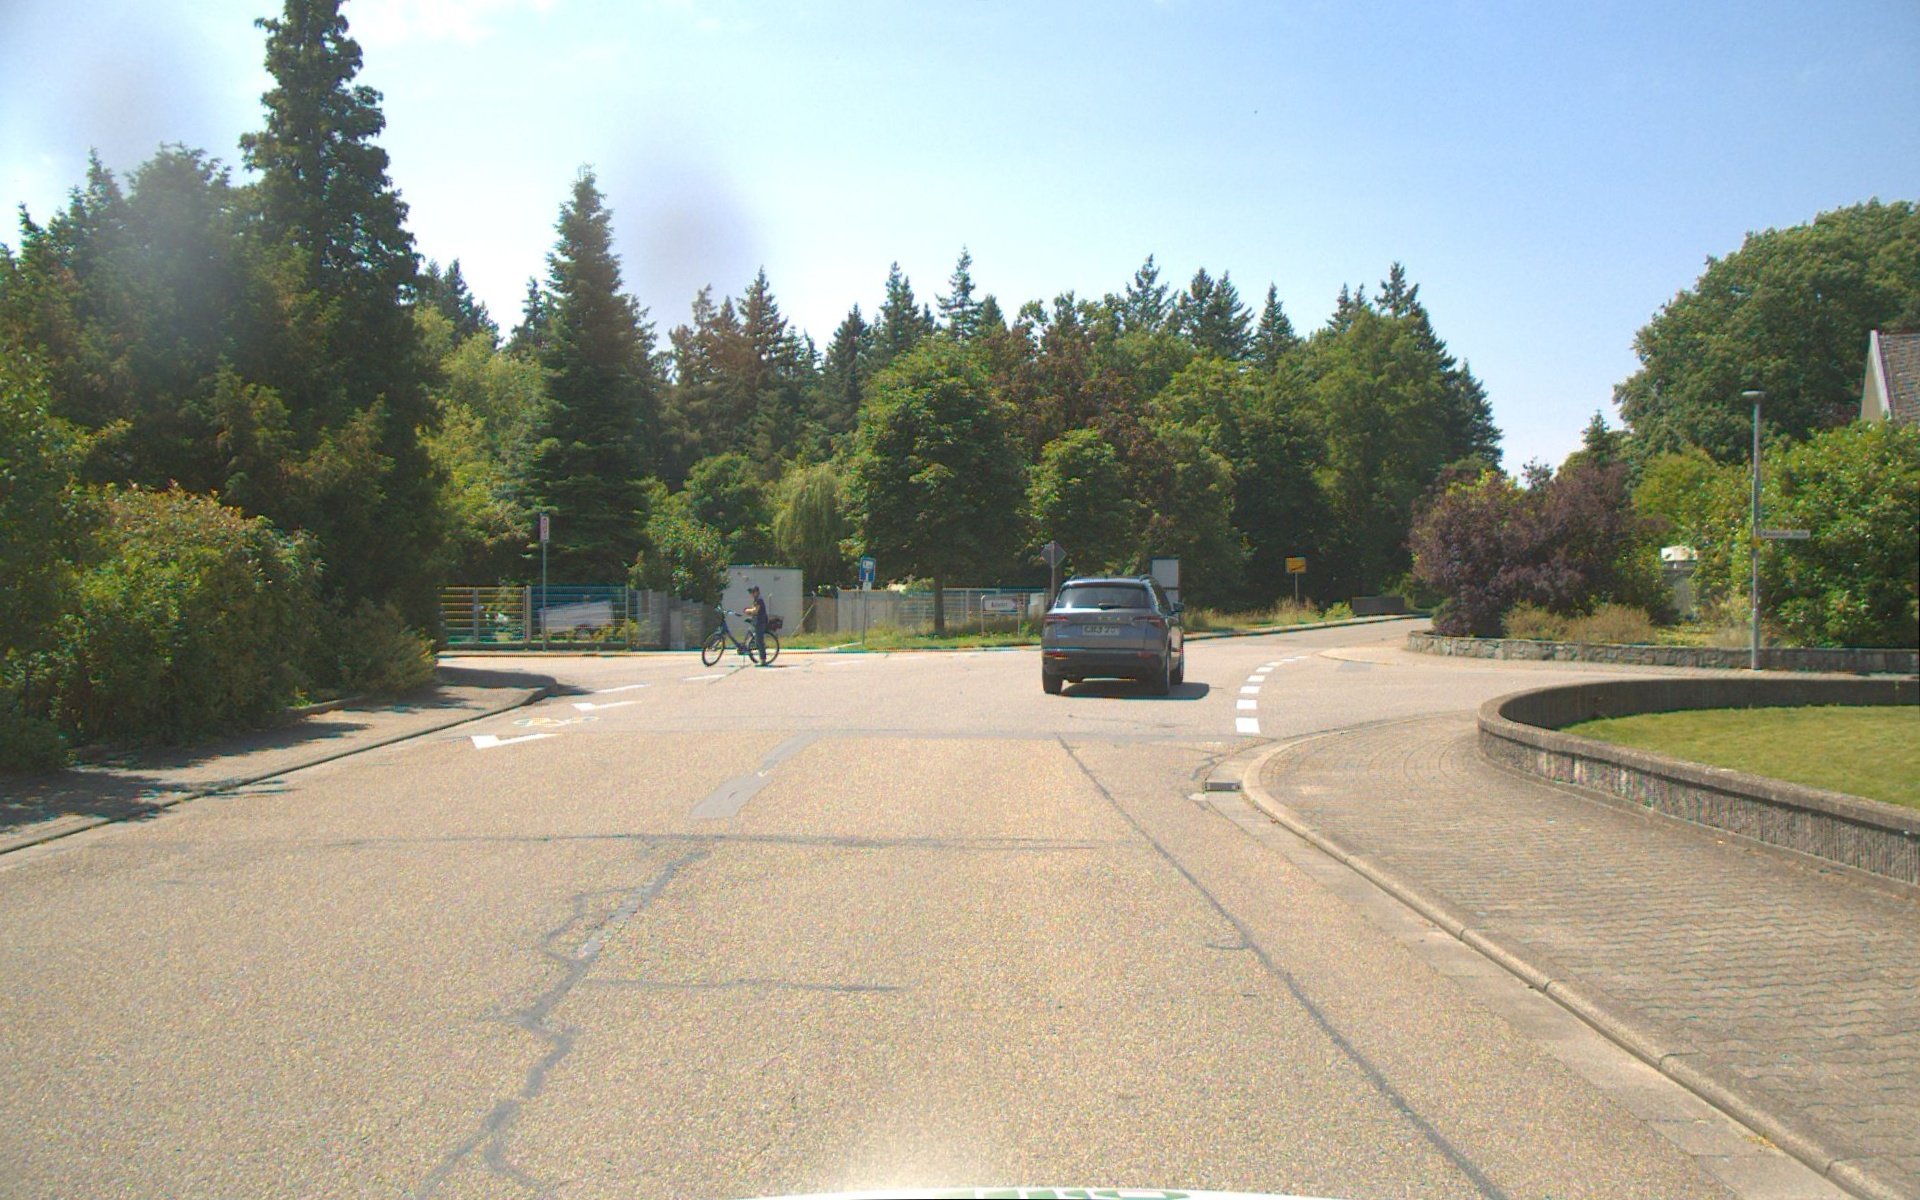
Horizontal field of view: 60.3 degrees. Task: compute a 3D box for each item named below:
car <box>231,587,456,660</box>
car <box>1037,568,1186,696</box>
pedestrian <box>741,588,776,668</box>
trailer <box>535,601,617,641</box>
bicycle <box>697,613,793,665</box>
[{"bbox_3d":[-14.555,0.538,39.227,4.571,1.691,1.969,0,0,-1],"label":"car"},{"bbox_3d":[2.266,0.415,23.853,1.725,1.646,4.003,1,0,11],"label":"car"},{"bbox_3d":[-3.899,0.526,31.970,0.600,1.527,0.502,0,0,-18],"label":"pedestrian"},{"bbox_3d":[-10.863,0.584,46.906,2.174,1.103,1.104,0,0,-9],"label":"trailer"},{"bbox_3d":[-4.200,0.761,32.321,1.815,0.980,0.441,0,0,-20],"label":"bicycle"}]
